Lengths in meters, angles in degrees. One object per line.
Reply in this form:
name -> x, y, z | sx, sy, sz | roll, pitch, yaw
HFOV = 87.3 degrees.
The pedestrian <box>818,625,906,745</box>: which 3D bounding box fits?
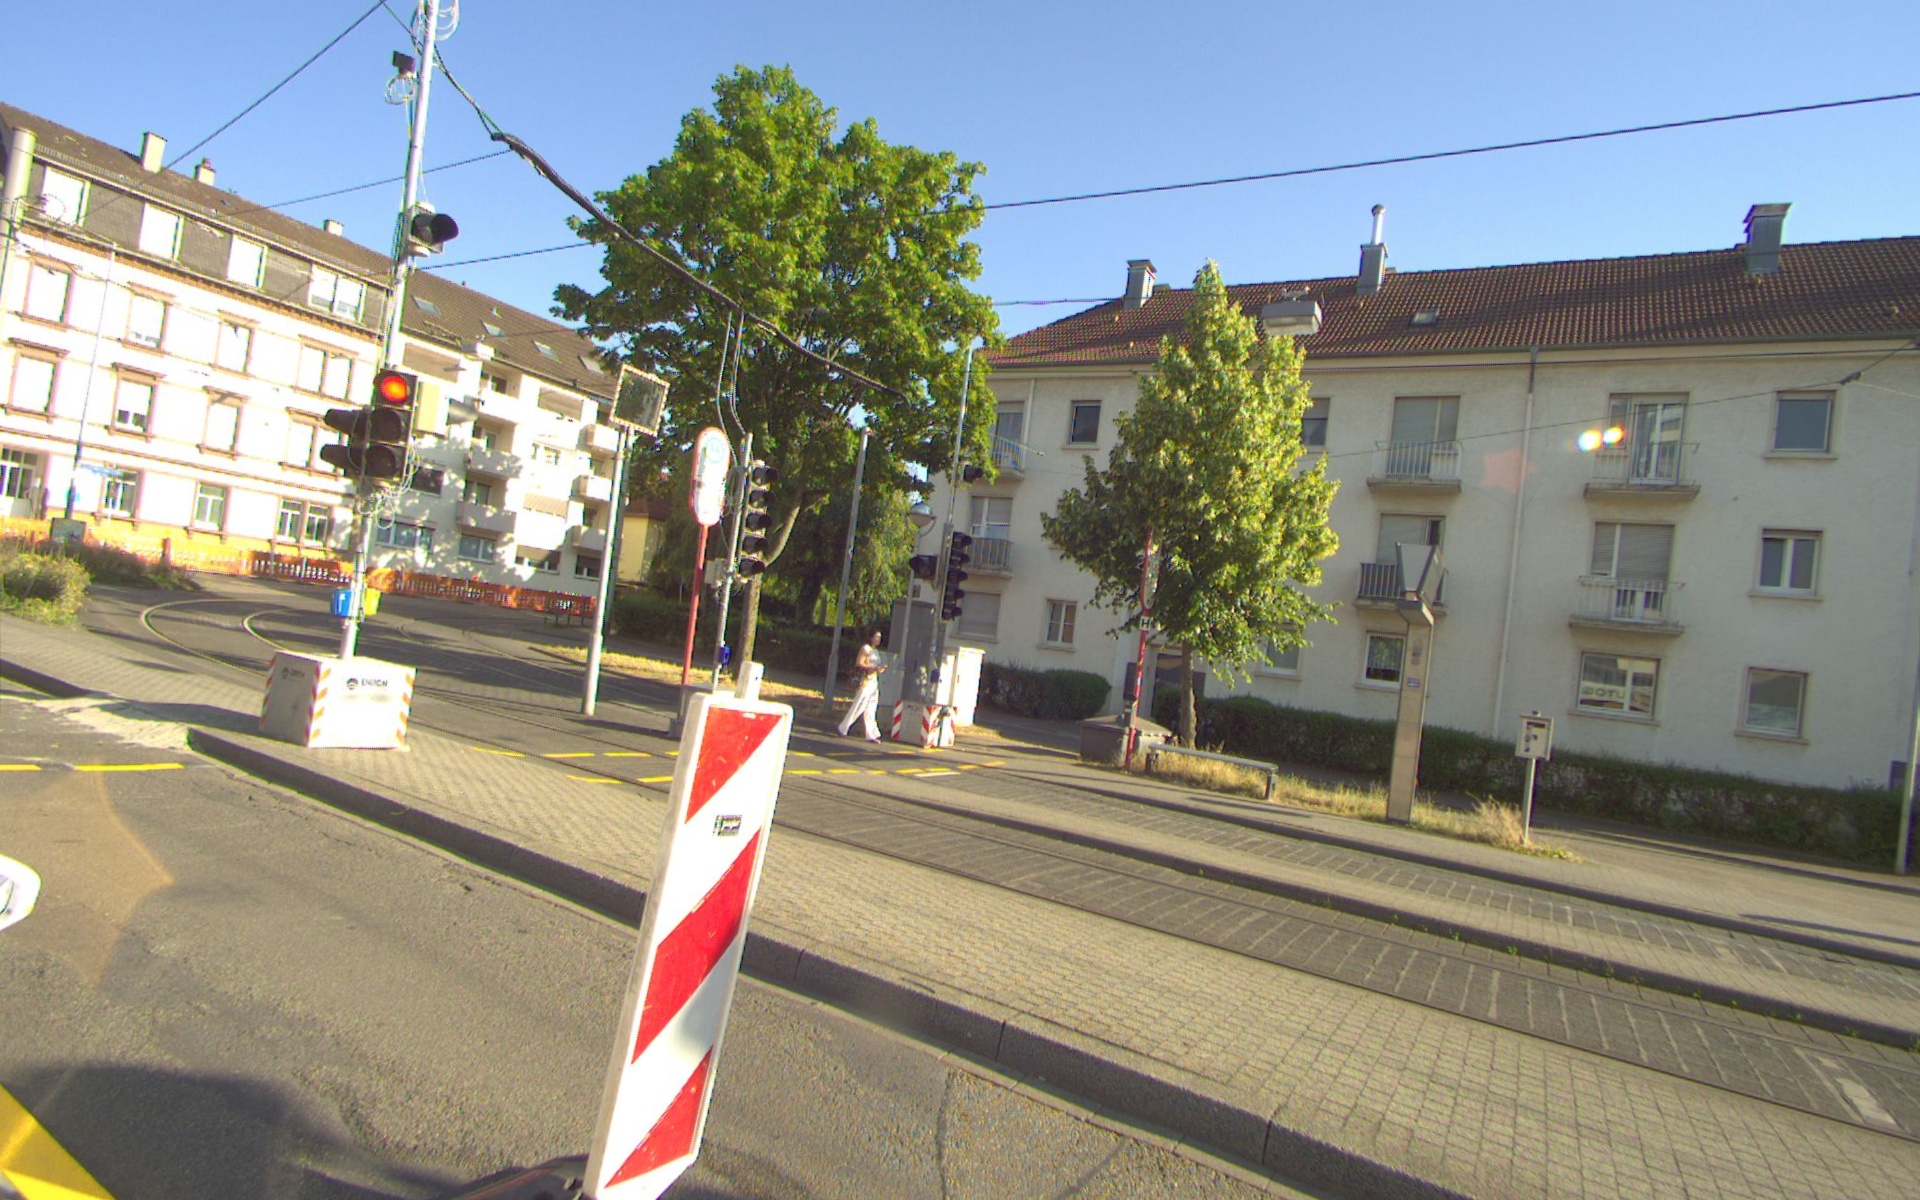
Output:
pedestrian -> -1.443, 1.264, 14.903 | 0.777, 1.639, 0.826 | 7, -1, 29
